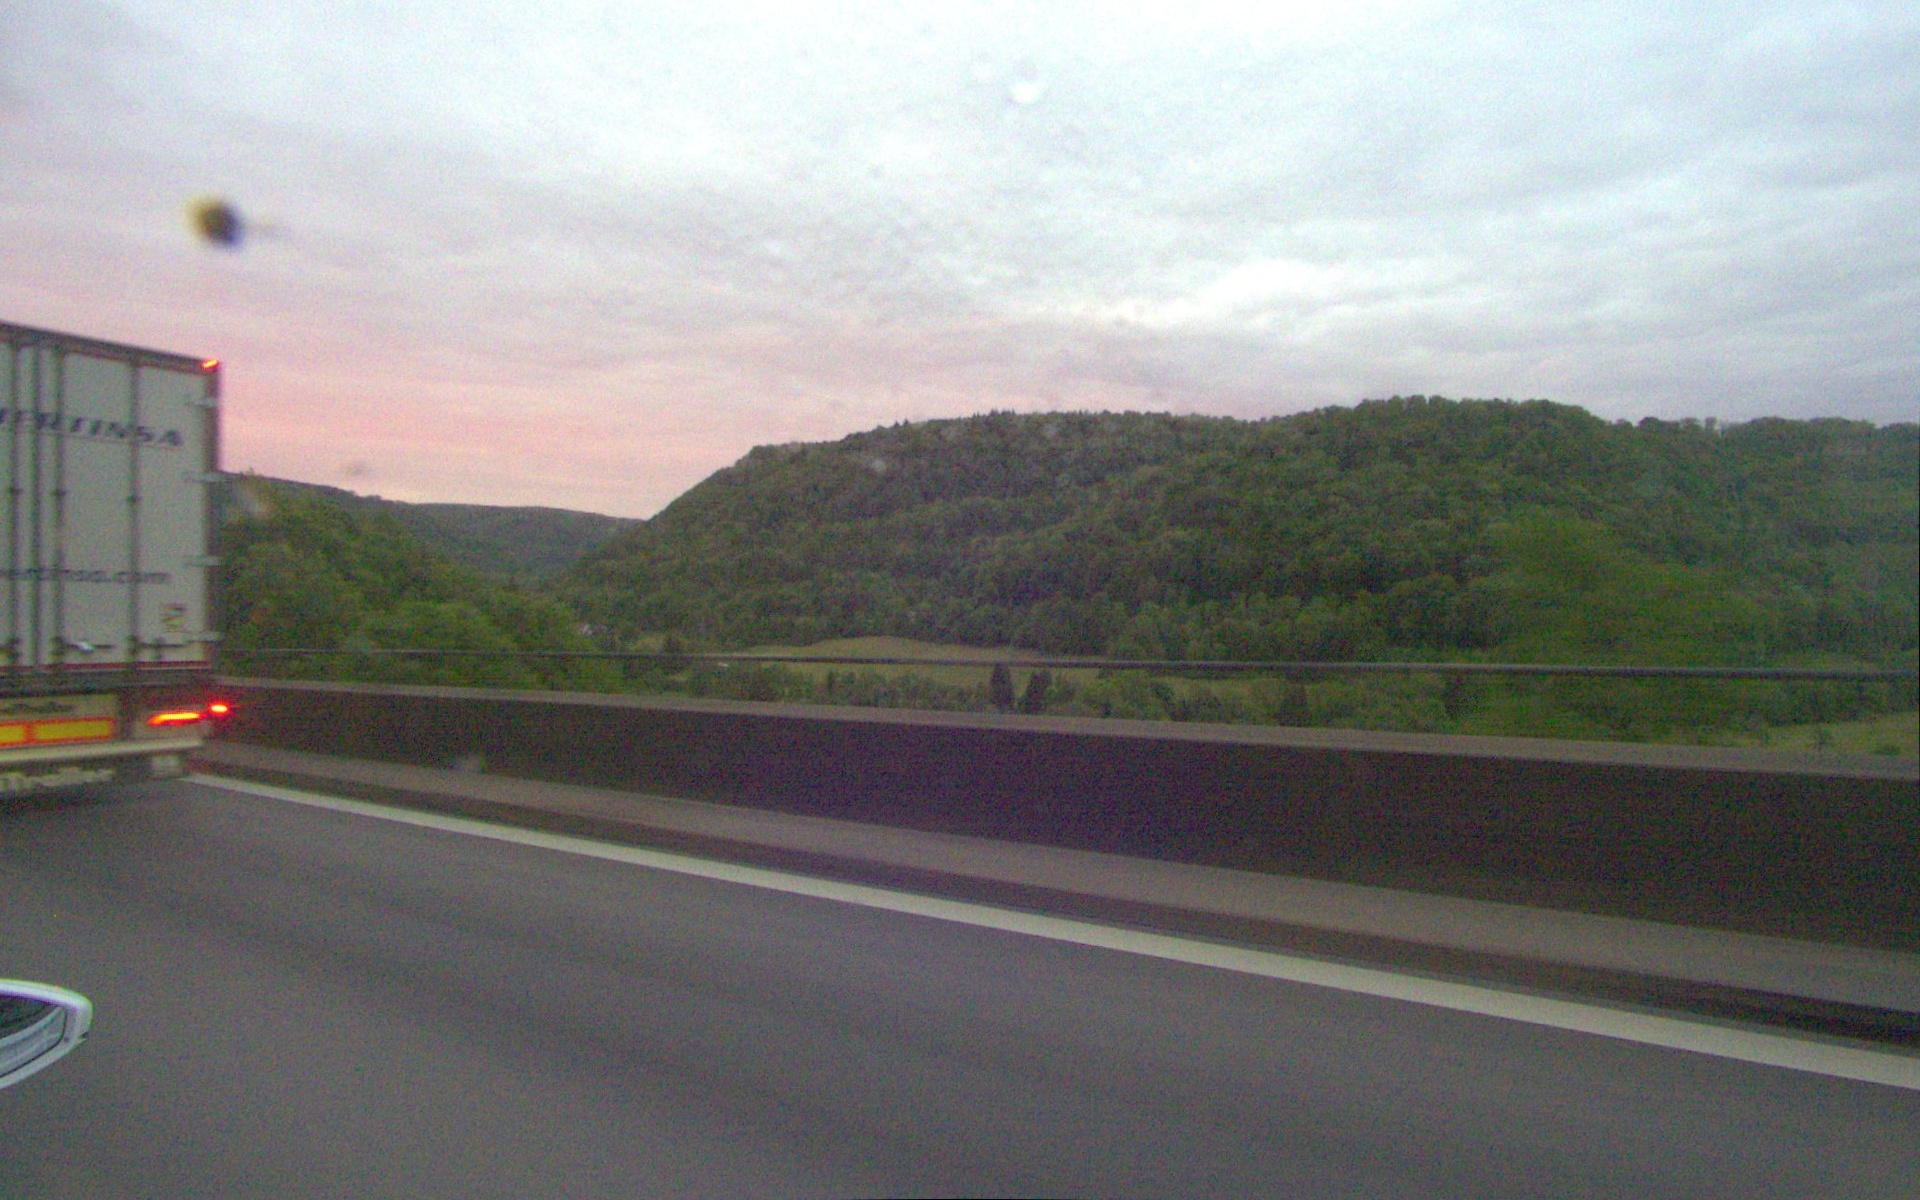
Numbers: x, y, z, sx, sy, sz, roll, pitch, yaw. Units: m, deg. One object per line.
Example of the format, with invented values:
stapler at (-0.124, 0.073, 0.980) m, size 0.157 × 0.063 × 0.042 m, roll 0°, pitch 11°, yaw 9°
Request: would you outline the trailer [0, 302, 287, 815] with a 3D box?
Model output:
trailer at (-13.017, -0.270, 12.286) m, size 14.025 × 4.022 × 3.088 m, roll 0°, pitch 0°, yaw 35°
